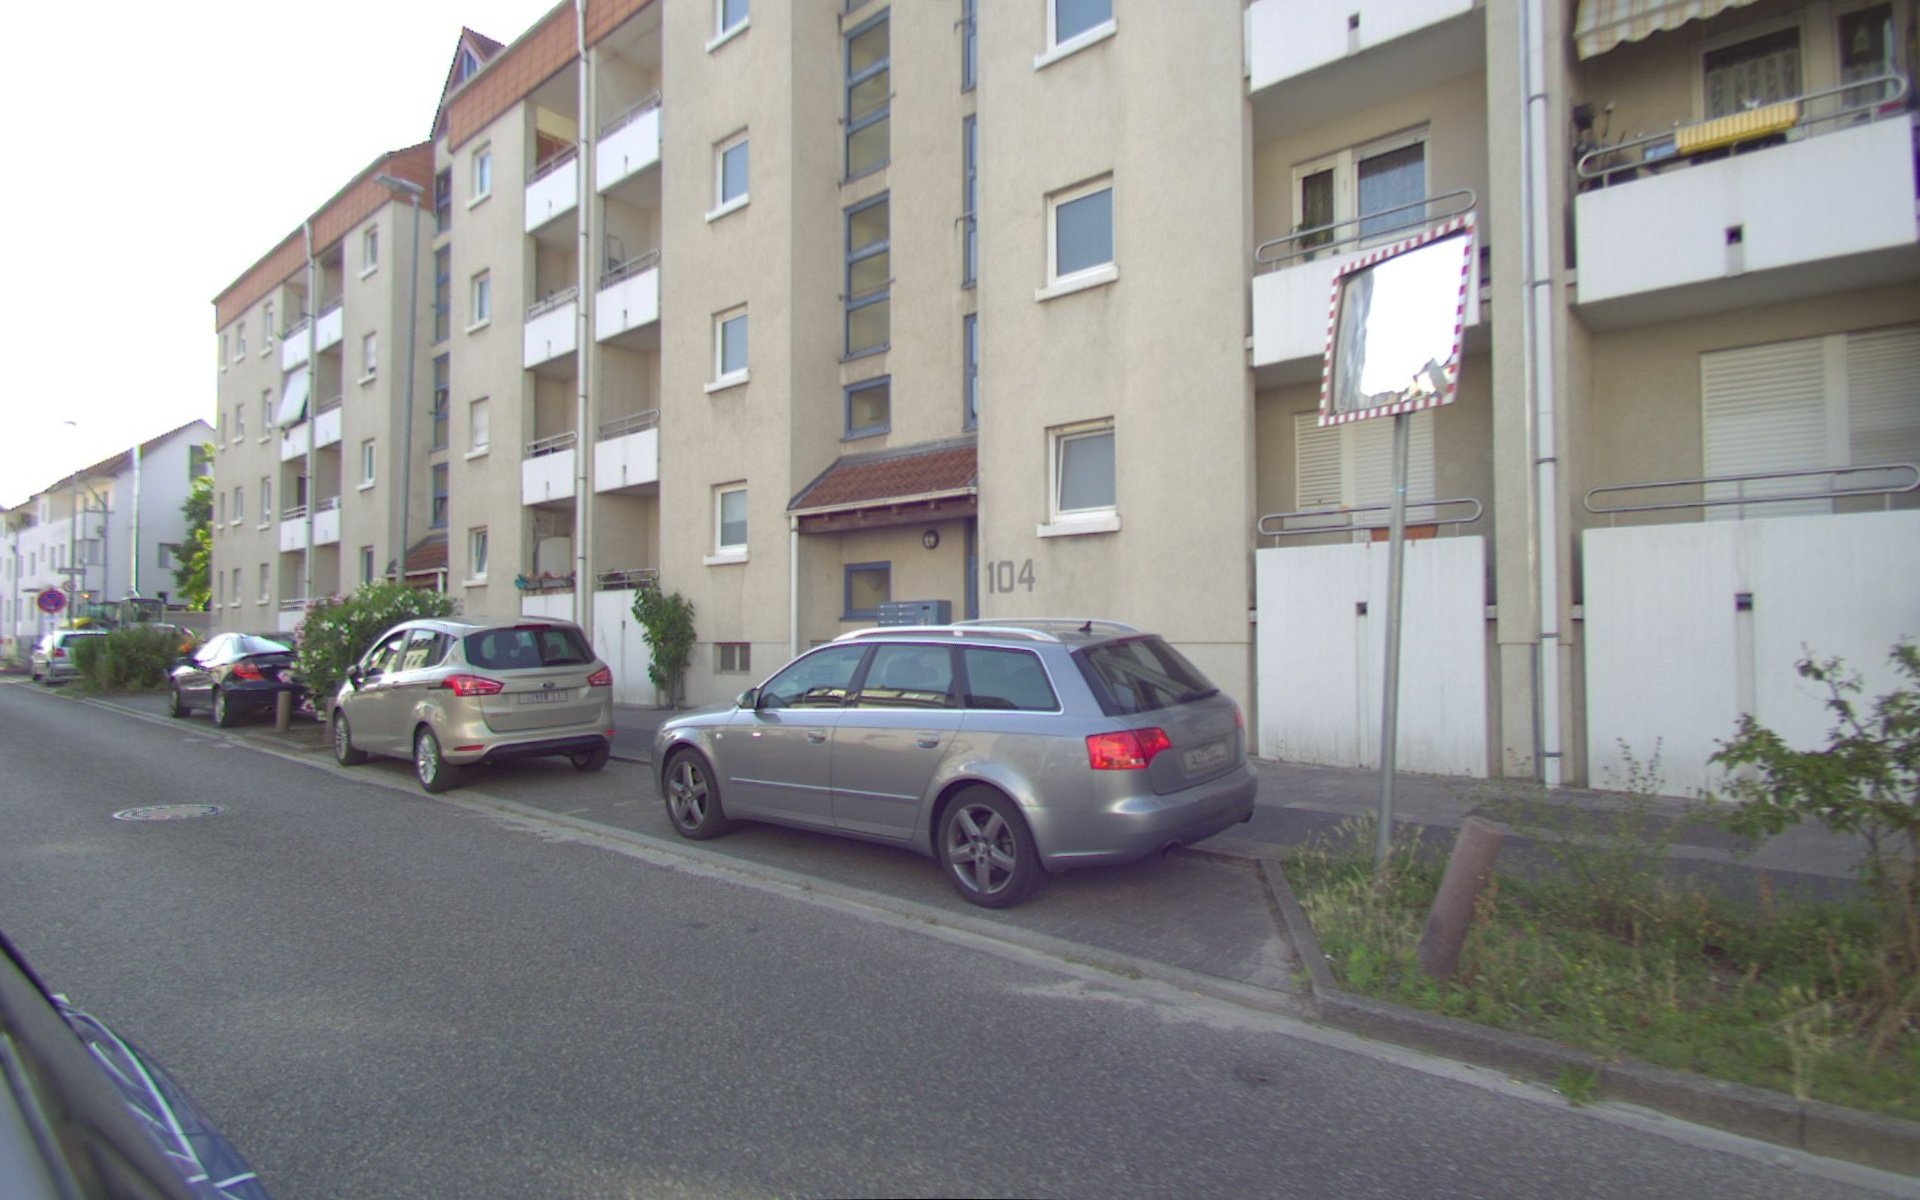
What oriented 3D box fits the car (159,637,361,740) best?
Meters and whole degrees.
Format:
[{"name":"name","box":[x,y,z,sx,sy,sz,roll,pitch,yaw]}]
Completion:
[{"name":"car","box":[-11.254,1.326,16.179,4.081,1.416,1.669,-2,-2,40]}]

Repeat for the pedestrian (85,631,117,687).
[{"name":"pedestrian","box":[-29.067,1.982,34.241,0.745,1.832,0.711,-3,-3,41]}]

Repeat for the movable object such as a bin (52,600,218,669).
[{"name":"movable object such as a bin","box":[-37.226,1.556,45.844,2.102,2.923,5.461,-2,-2,29]}]

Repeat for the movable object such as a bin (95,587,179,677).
[{"name":"movable object such as a bin","box":[-30.757,1.224,37.798,3.896,3.162,1.631,-3,-4,40]}]

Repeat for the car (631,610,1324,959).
[{"name":"car","box":[-0.148,0.878,6.574,4.367,1.533,1.789,-2,-2,41]}]

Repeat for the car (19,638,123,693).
[{"name":"car","box":[-24.911,1.782,28.331,3.668,1.406,1.624,-2,-2,40]}]

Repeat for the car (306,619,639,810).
[{"name":"car","box":[-5.134,1.017,10.423,3.964,1.567,1.708,-2,-1,42]}]
